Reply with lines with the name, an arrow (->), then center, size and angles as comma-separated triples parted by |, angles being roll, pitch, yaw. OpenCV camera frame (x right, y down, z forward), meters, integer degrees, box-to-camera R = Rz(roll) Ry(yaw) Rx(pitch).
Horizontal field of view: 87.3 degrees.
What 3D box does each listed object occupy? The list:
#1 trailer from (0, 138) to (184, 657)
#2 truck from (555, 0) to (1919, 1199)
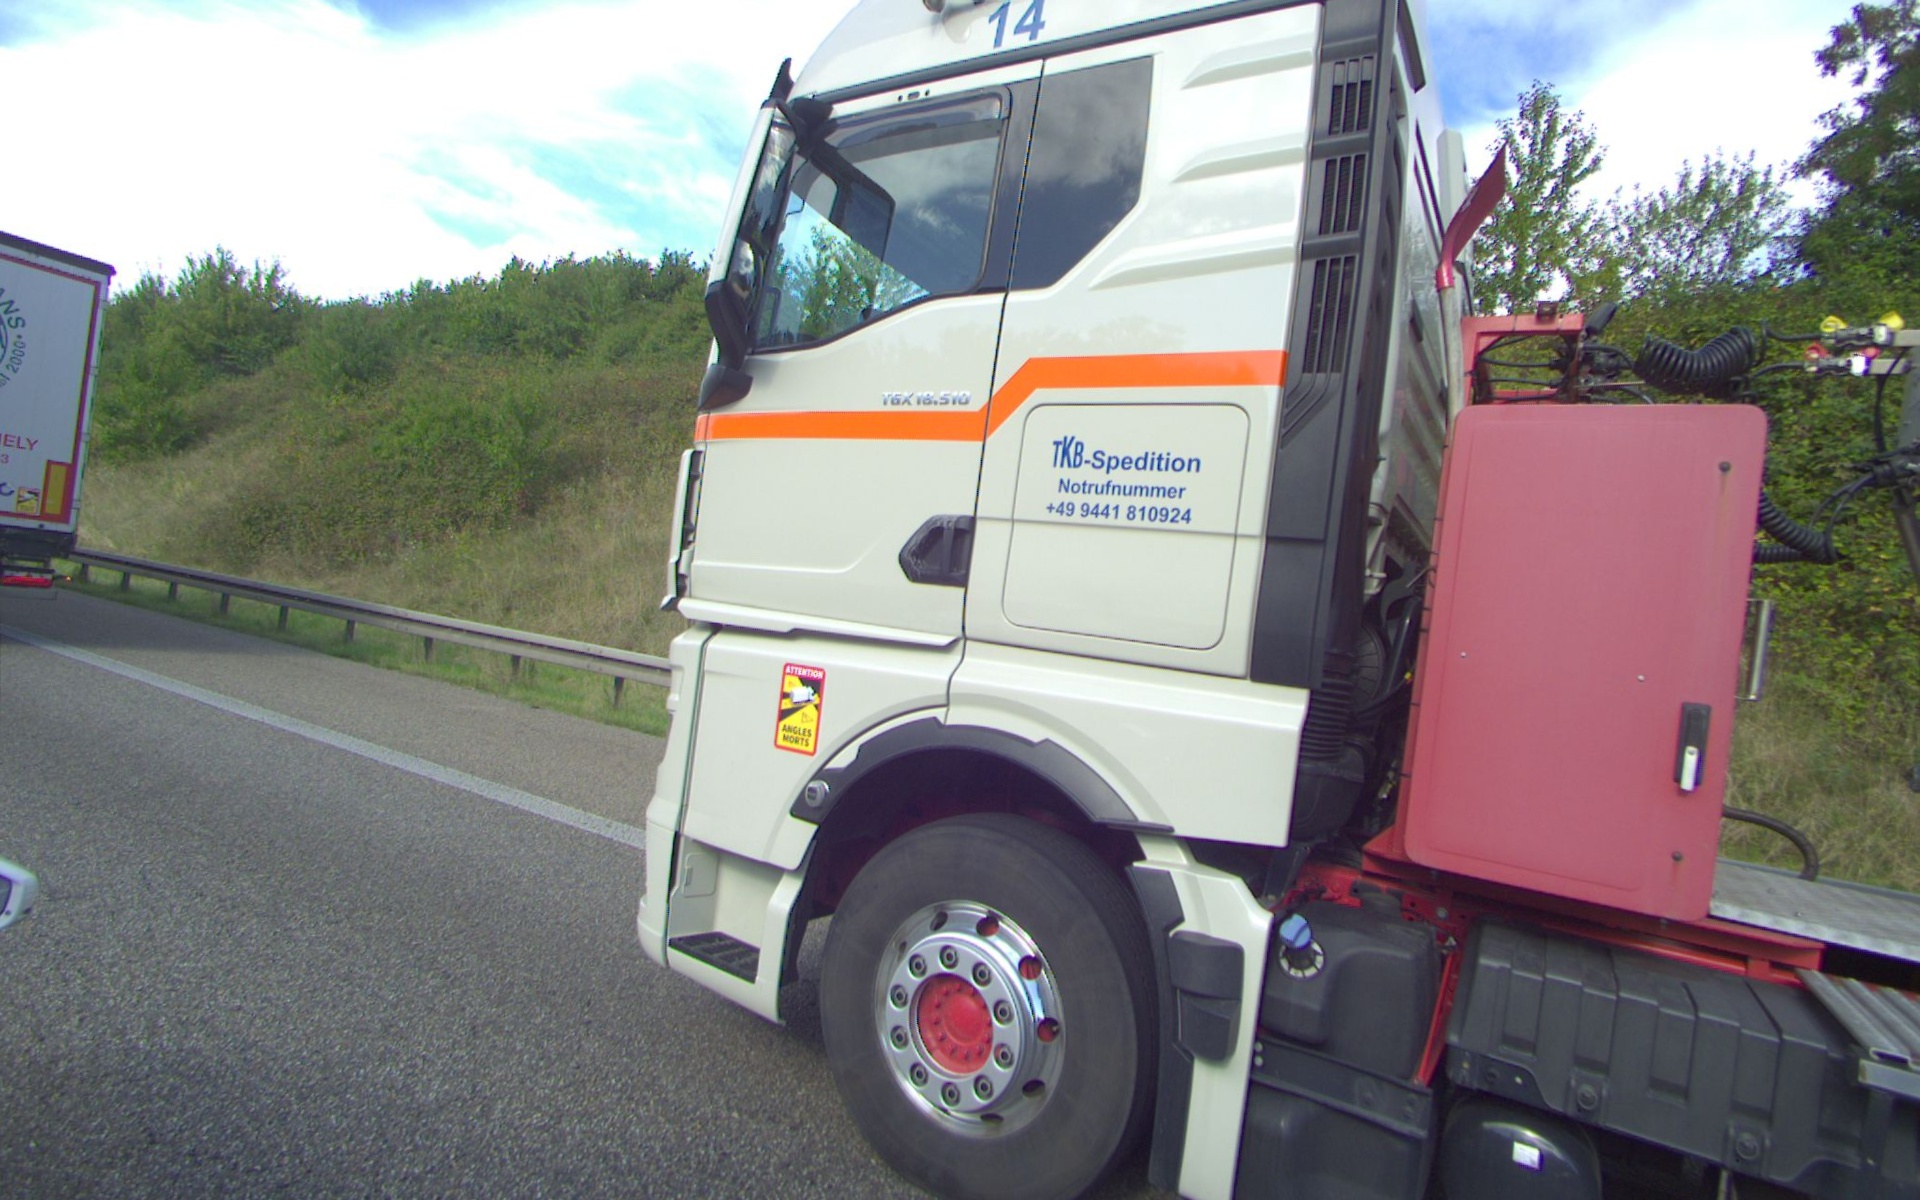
trailer -> -14.678, -2.564, 12.461 | 13.066, 4.716, 3.008 | 7, -1, 31
truck -> 2.109, -0.270, 2.895 | 5.806, 4.091, 2.807 | 7, -1, 32
